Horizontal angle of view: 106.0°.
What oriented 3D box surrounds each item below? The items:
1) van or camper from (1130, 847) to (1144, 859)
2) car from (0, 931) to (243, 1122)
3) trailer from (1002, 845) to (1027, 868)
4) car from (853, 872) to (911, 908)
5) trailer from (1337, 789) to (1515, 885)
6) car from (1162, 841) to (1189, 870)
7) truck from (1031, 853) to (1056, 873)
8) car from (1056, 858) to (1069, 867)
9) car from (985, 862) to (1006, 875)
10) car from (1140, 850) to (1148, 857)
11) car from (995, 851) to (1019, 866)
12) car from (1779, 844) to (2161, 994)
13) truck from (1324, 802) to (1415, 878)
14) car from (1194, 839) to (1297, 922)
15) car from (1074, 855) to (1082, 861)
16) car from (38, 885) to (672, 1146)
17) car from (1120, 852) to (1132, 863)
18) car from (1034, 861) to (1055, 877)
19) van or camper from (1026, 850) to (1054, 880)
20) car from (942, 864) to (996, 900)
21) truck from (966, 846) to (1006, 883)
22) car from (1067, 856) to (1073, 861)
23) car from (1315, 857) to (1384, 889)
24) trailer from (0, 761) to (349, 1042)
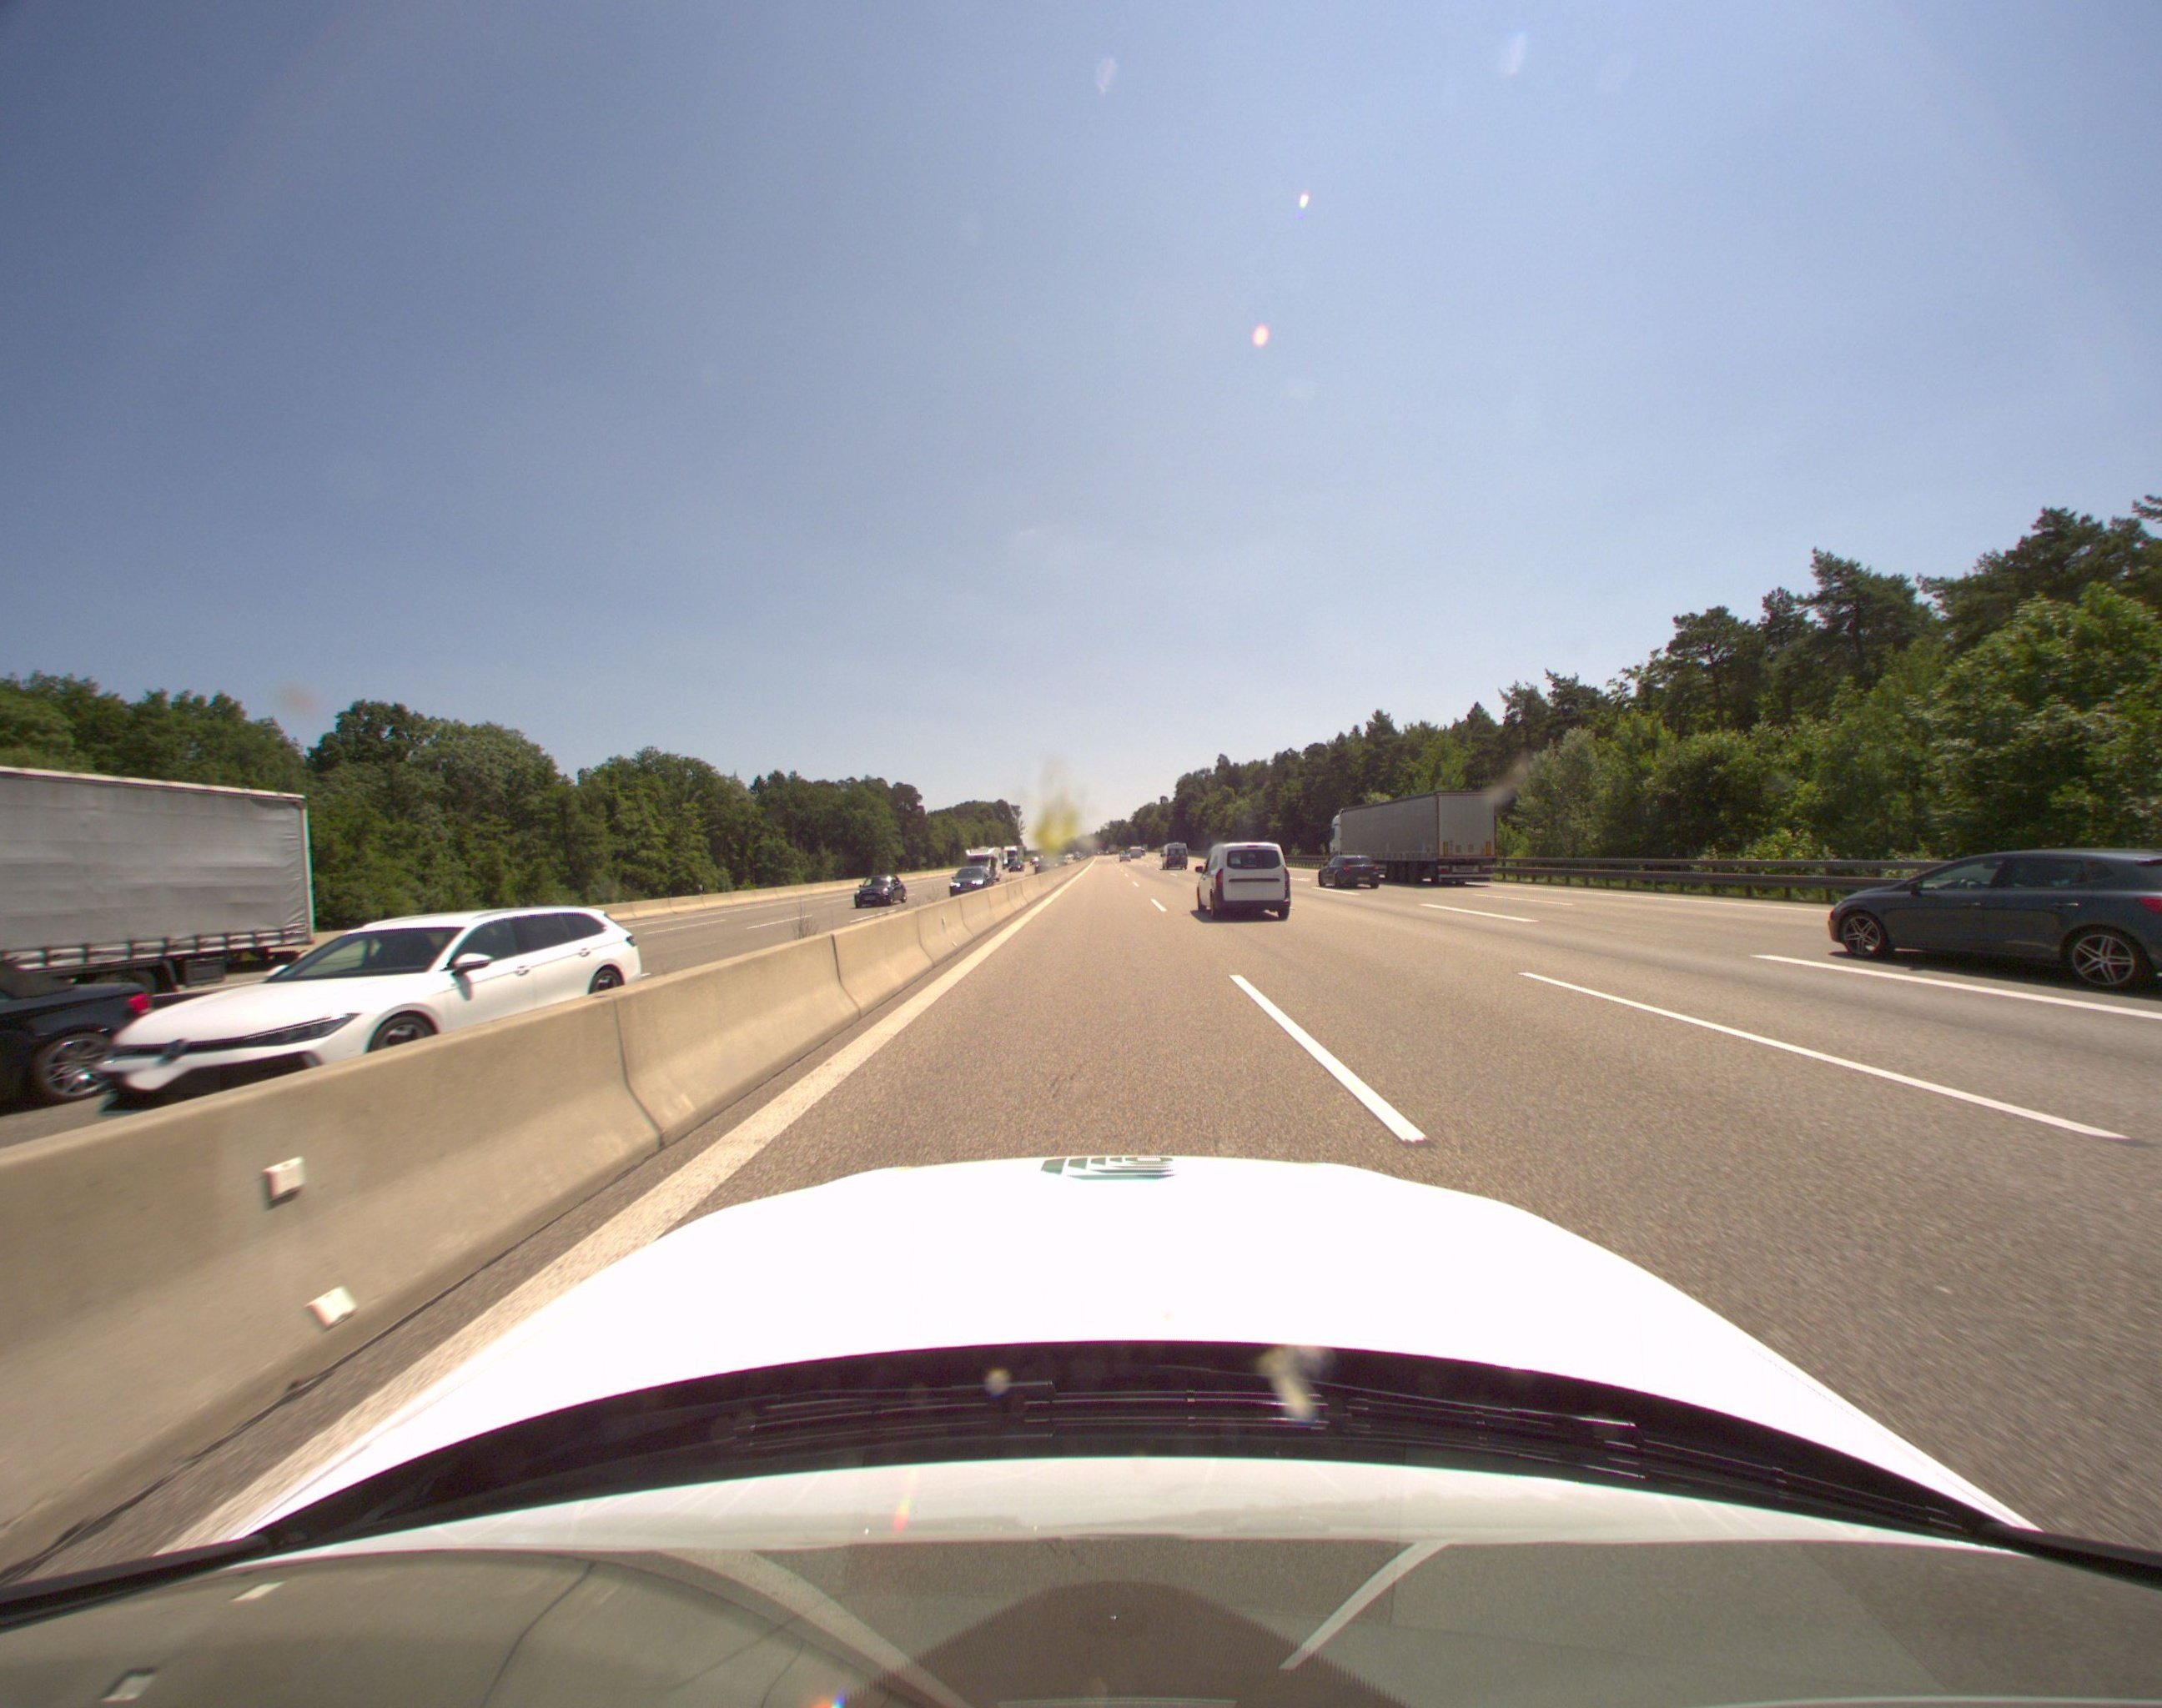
[{"bbox_3d":[12.335,-0.179,180.222,2.635,2.539,6.504,-3,-1,2],"label":"van or camper"},{"bbox_3d":[-9.978,1.580,6.528,1.543,1.442,4.725,-2,0,1],"label":"car"},{"bbox_3d":[-13.206,0.554,162.066,3.524,4.068,10.374,-3,-1,2],"label":"trailer"},{"bbox_3d":[-9.266,1.652,38.224,1.528,1.482,4.127,-2,0,3],"label":"car"},{"bbox_3d":[16.464,-0.701,40.670,3.276,3.930,13.893,-1,0,1],"label":"trailer"},{"bbox_3d":[9.181,0.160,79.633,2.135,2.652,5.712,-2,0,2],"label":"car"},{"bbox_3d":[-4.149,1.016,90.904,2.372,2.014,4.001,-3,-1,1],"label":"truck"},{"bbox_3d":[-2.896,1.295,131.168,1.829,1.338,3.644,-3,0,1],"label":"car"},{"bbox_3d":[-9.588,1.658,92.031,1.829,1.338,3.644,-3,-1,1],"label":"car"},{"bbox_3d":[16.765,-0.046,216.894,1.814,1.860,4.001,-2,0,2],"label":"car"},{"bbox_3d":[-7.581,0.458,83.859,1.745,1.377,4.495,-3,0,3],"label":"car"},{"bbox_3d":[11.204,0.623,9.843,1.637,1.438,4.636,0,0,1],"label":"car"},{"bbox_3d":[16.631,-0.783,47.431,3.242,4.106,5.989,-1,0,1],"label":"truck"},{"bbox_3d":[4.023,0.630,20.653,1.852,1.826,4.614,-1,-1,2],"label":"car"},{"bbox_3d":[-0.852,1.056,213.956,1.829,1.338,3.644,-2,0,1],"label":"car"},{"bbox_3d":[-6.635,1.283,8.584,1.840,1.550,5.215,-5,0,1],"label":"car"},{"bbox_3d":[7.752,0.644,140.457,1.836,1.629,4.554,-3,-1,1],"label":"car"},{"bbox_3d":[-3.969,1.595,89.427,1.986,1.618,4.001,-3,0,2],"label":"car"},{"bbox_3d":[-4.418,1.180,89.315,2.190,3.057,8.030,-3,-1,2],"label":"van or camper"},{"bbox_3d":[-5.437,1.312,40.189,1.716,1.537,5.057,-4,0,2],"label":"car"},{"bbox_3d":[-7.875,0.855,68.538,2.130,2.838,7.672,-3,0,2],"label":"truck"},{"bbox_3d":[-3.386,1.375,252.418,1.724,1.338,3.644,-2,0,1],"label":"car"},{"bbox_3d":[11.426,0.779,34.972,1.664,1.273,4.291,-1,-1,2],"label":"car"},{"bbox_3d":[-17.743,0.751,11.064,2.744,4.246,13.723,-3,-1,2],"label":"trailer"}]
